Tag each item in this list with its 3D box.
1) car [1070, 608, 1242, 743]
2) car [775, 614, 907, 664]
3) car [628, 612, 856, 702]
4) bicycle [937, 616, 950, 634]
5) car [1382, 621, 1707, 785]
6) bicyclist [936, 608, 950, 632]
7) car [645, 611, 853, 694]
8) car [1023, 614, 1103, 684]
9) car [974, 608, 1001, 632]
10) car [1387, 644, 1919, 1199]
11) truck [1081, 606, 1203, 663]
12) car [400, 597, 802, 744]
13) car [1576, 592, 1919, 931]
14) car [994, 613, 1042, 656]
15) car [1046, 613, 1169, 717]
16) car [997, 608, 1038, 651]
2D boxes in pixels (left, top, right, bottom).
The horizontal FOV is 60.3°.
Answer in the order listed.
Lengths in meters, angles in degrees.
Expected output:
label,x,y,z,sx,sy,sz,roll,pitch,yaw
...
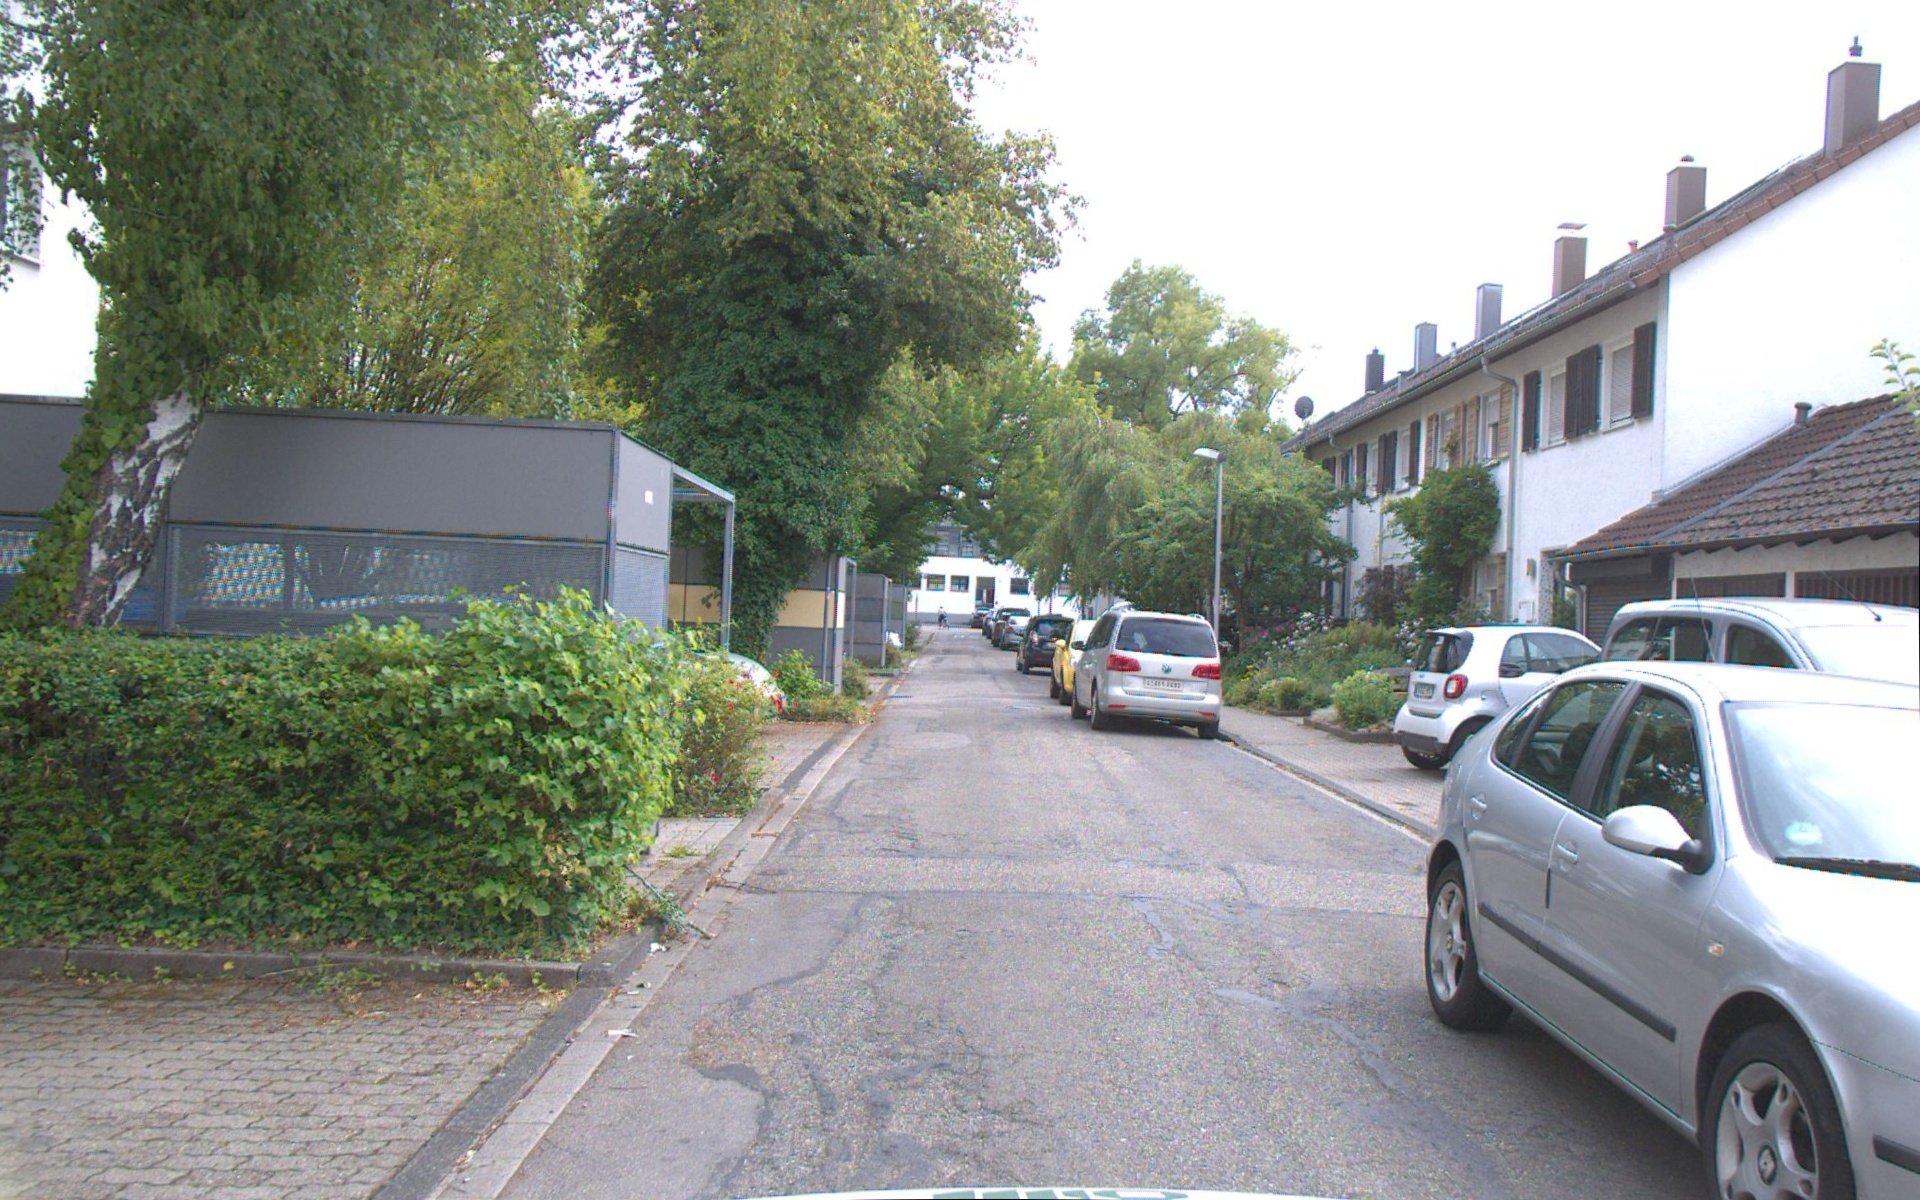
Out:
label,x,y,z,sx,sy,sz,roll,pitch,yaw
car,2.688,0.994,23.536,1.788,1.608,3.999,5,0,-1
car,-3.672,1.215,51.539,3.949,1.418,1.738,2,-1,-1
car,-3.930,1.027,30.237,3.906,1.490,1.738,2,-1,-1
bicycle,-1.068,1.648,108.917,0.674,1.151,2.579,4,-1,2
car,6.039,1.036,17.303,2.760,1.597,1.740,0,0,-3
bicyclist,-1.090,1.332,108.974,0.782,1.537,0.934,4,-1,2
car,-4.146,1.026,32.945,3.906,1.490,1.738,2,-1,-1
car,2.678,1.238,43.695,1.788,1.608,4.193,5,0,0
car,1.992,1.455,121.360,1.788,1.608,4.000,5,0,0
car,2.757,0.944,4.952,1.788,1.394,4.331,5,0,0
truck,6.792,1.286,61.973,4.301,2.049,2.000,1,-1,-1
car,-4.155,0.806,19.666,4.322,1.528,1.841,2,-1,0
car,5.882,0.894,10.921,1.789,1.808,4.337,0,-1,-4
car,2.379,1.406,68.823,1.788,1.608,4.000,5,0,0
car,2.603,1.120,29.984,1.788,1.608,4.000,5,0,0
car,2.774,1.423,80.510,1.788,1.916,4.000,4,0,0
